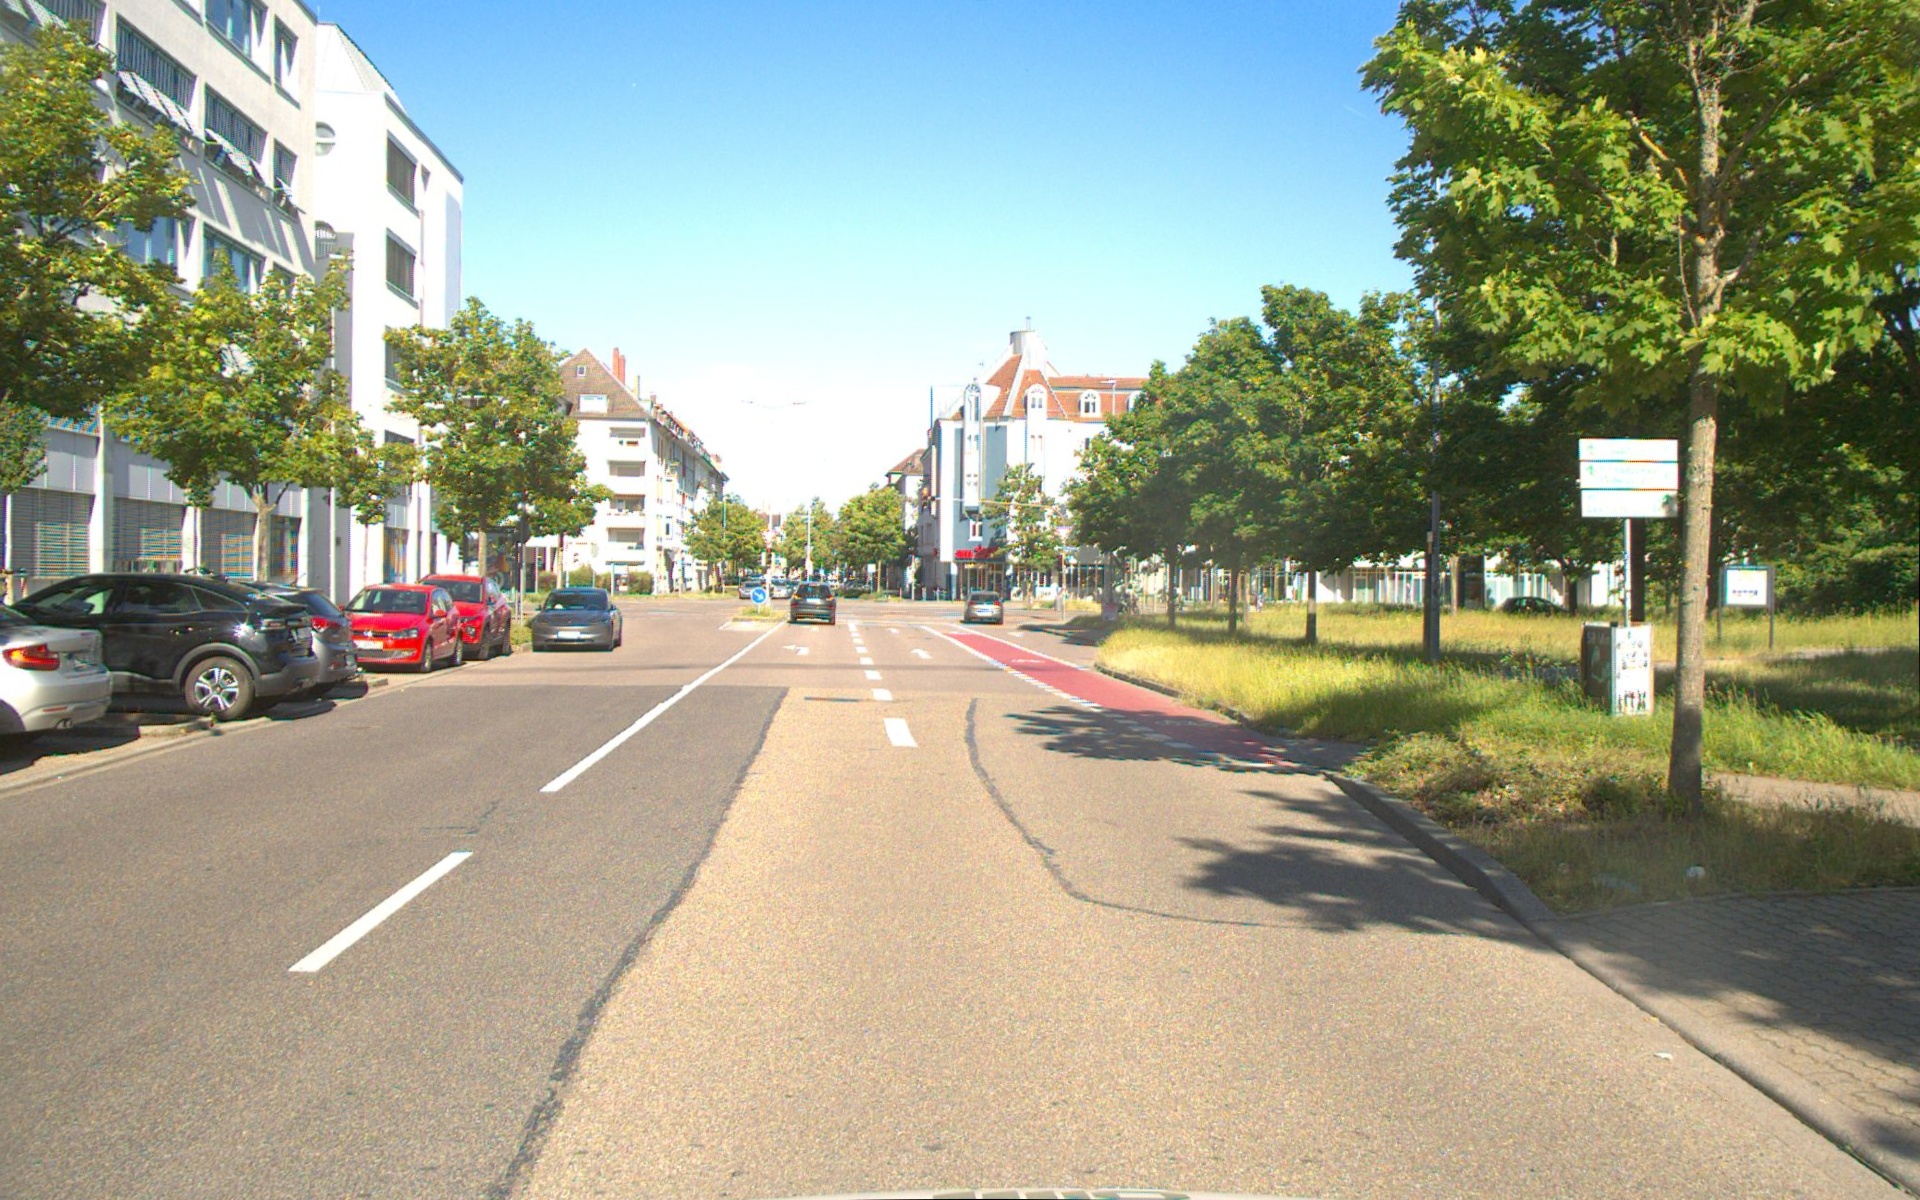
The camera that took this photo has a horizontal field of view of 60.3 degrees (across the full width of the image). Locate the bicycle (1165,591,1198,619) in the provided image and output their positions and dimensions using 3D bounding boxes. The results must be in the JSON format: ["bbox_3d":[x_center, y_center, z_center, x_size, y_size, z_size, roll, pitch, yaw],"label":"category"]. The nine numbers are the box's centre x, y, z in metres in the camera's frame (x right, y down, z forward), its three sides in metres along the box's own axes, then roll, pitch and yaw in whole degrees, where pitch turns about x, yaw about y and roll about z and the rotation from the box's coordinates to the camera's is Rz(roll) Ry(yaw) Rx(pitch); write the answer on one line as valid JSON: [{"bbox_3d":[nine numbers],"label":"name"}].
[{"bbox_3d":[11.057,0.243,82.604,0.776,1.371,2.256,0,1,32],"label":"bicycle"}]

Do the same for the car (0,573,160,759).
[{"bbox_3d":[-9.438,0.447,14.110,4.301,1.457,1.691,3,0,-6],"label":"car"}]

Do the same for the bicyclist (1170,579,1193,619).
[{"bbox_3d":[11.077,-0.070,82.637,0.776,1.993,1.008,0,0,33],"label":"bicyclist"}]

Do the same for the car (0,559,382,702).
[{"bbox_3d":[-9.923,0.382,21.374,4.305,1.564,1.690,3,0,-10],"label":"car"}]

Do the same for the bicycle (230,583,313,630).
[{"bbox_3d":[-16.232,0.155,39.014,1.730,1.087,0.556,0,0,3],"label":"bicycle"}]

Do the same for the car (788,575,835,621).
[{"bbox_3d":[-5.933,-0.098,66.209,1.720,1.656,4.474,3,0,-5],"label":"car"}]

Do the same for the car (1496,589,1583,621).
[{"bbox_3d":[29.833,0.248,85.172,3.875,1.628,1.674,0,0,-7],"label":"car"}]

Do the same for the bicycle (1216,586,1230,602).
[{"bbox_3d":[20.329,-0.468,127.972,0.549,1.203,1.867,0,1,-6],"label":"bicycle"}]

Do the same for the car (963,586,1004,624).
[{"bbox_3d":[1.045,0.209,76.272,1.654,1.605,3.870,3,0,-2],"label":"car"}]

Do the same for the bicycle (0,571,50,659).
[{"bbox_3d":[-15.287,0.238,26.016,0.694,1.371,2.232,0,0,1],"label":"bicycle"}]

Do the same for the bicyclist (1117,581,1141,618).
[{"bbox_3d":[8.409,-0.034,82.141,0.776,1.856,1.132,0,0,33],"label":"bicyclist"}]

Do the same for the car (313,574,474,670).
[{"bbox_3d":[-9.720,0.342,28.666,1.655,1.457,3.868,3,0,-5],"label":"car"}]

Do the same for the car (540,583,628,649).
[{"bbox_3d":[-8.998,0.345,39.844,1.656,1.494,4.540,0,1,-8],"label":"car"}]

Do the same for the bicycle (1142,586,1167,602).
[{"bbox_3d":[14.849,-0.494,126.150,1.829,1.203,0.561,0,1,-9],"label":"bicycle"}]

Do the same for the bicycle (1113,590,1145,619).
[{"bbox_3d":[8.397,0.219,82.127,0.776,1.371,2.073,0,1,32],"label":"bicycle"}]

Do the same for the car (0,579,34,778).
[{"bbox_3d":[-9.122,0.474,11.470,4.303,1.457,1.691,3,0,-8],"label":"car"}]

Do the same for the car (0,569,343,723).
[{"bbox_3d":[-9.334,0.467,18.368,4.303,1.457,1.691,3,0,-8],"label":"car"}]

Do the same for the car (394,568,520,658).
[{"bbox_3d":[-10.216,0.226,33.885,1.656,1.635,4.304,3,0,-7],"label":"car"}]

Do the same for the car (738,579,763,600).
[{"bbox_3d":[-17.016,-0.835,134.392,1.719,1.583,3.728,3,0,-3],"label":"car"}]

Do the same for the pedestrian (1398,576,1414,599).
[{"bbox_3d":[33.747,-0.947,125.203,0.970,1.753,0.653,0,0,-6],"label":"pedestrian"}]
